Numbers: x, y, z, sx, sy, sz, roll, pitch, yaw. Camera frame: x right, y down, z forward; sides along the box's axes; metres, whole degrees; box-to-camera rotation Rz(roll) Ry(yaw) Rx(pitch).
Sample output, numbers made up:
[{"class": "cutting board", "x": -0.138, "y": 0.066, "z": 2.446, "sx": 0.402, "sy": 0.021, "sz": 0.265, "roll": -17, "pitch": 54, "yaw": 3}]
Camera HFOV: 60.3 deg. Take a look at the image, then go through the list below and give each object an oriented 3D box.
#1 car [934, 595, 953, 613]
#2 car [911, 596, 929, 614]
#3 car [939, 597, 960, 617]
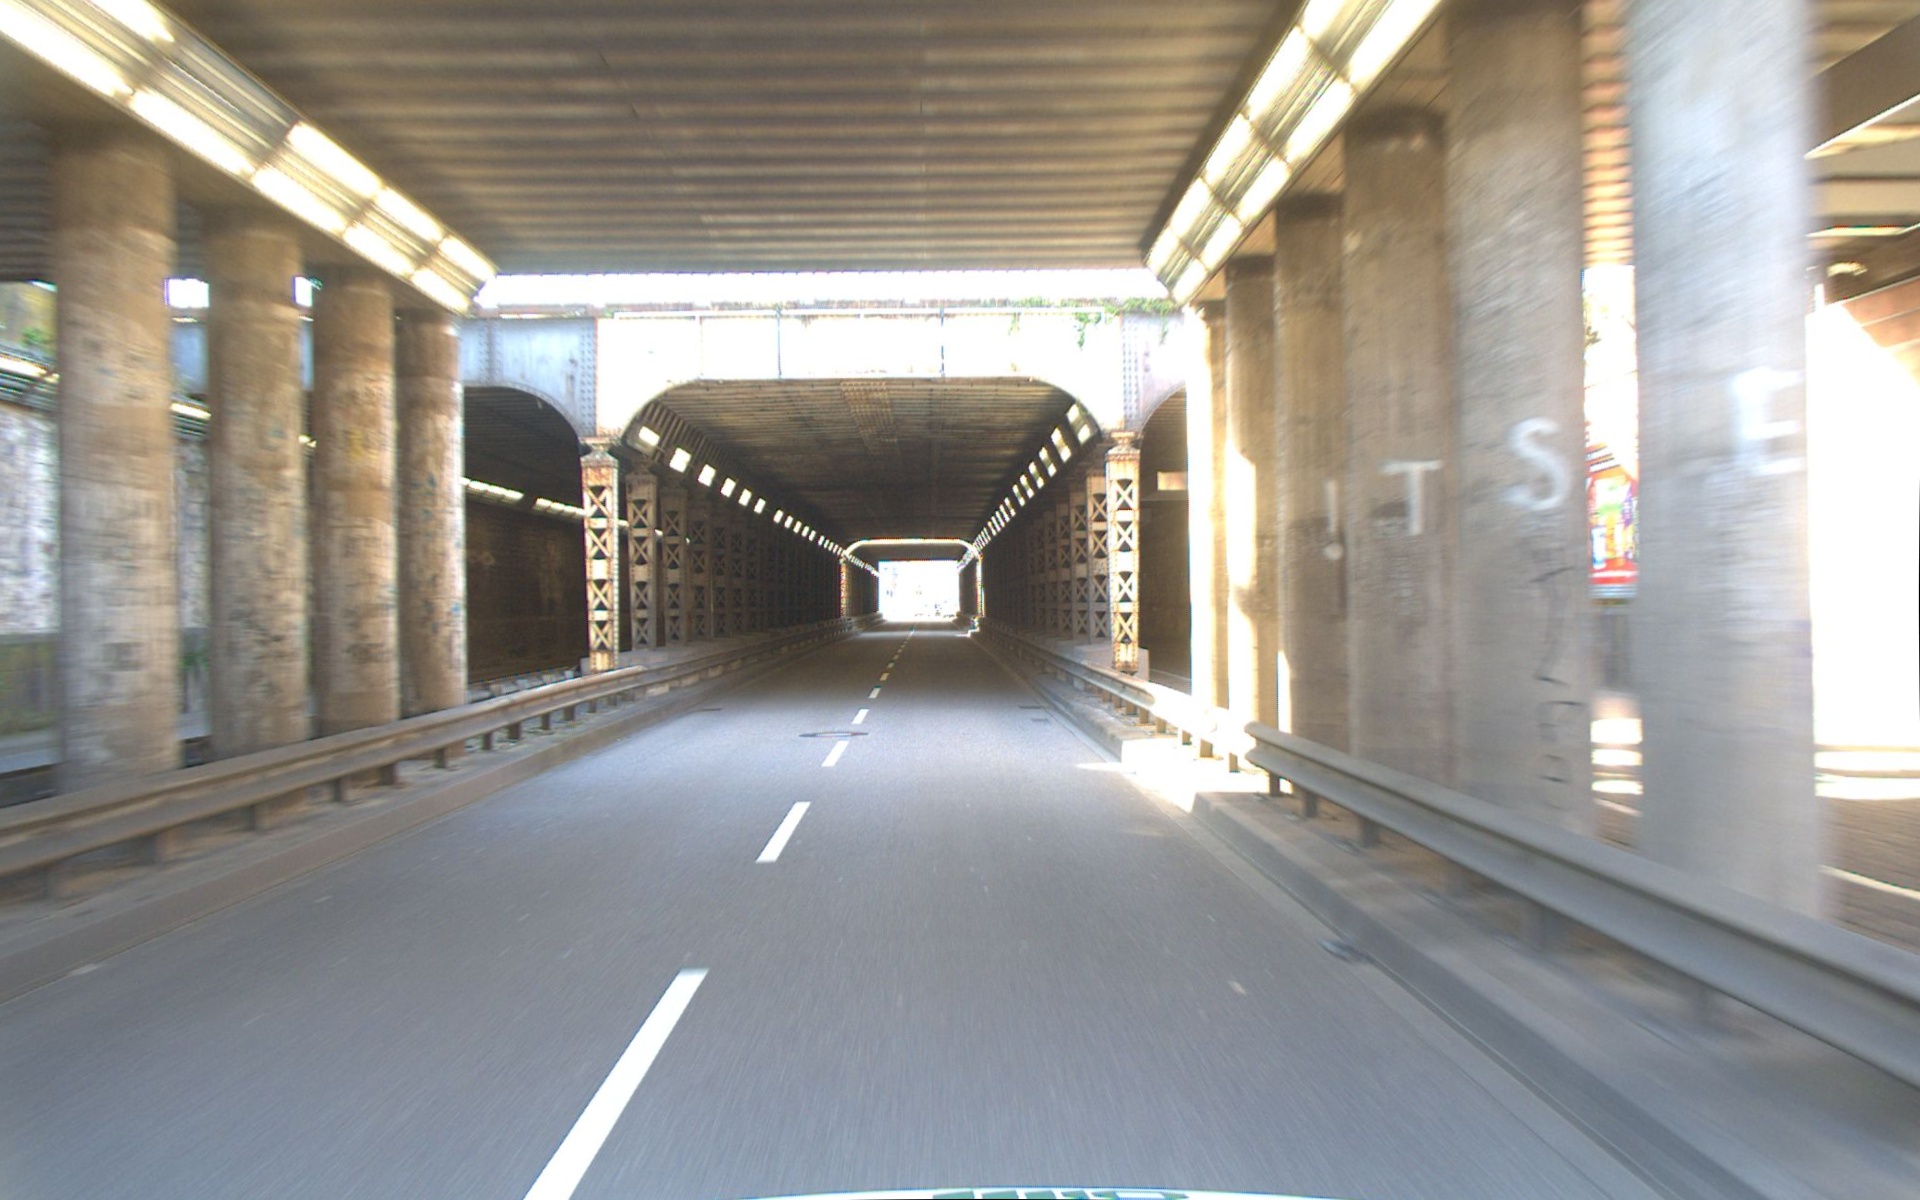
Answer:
[{"class": "car", "x": -1.720, "y": 0.429, "z": 171.689, "sx": 1.953, "sy": 1.815, "sz": 3.999, "roll": -1, "pitch": 0, "yaw": -1}, {"class": "car", "x": -4.307, "y": 0.511, "z": 178.258, "sx": 1.953, "sy": 1.815, "sz": 3.999, "roll": -1, "pitch": 0, "yaw": -1}, {"class": "car", "x": -1.055, "y": 0.666, "z": 162.428, "sx": 1.953, "sy": 1.815, "sz": 3.999, "roll": -2, "pitch": 0, "yaw": -1}]
